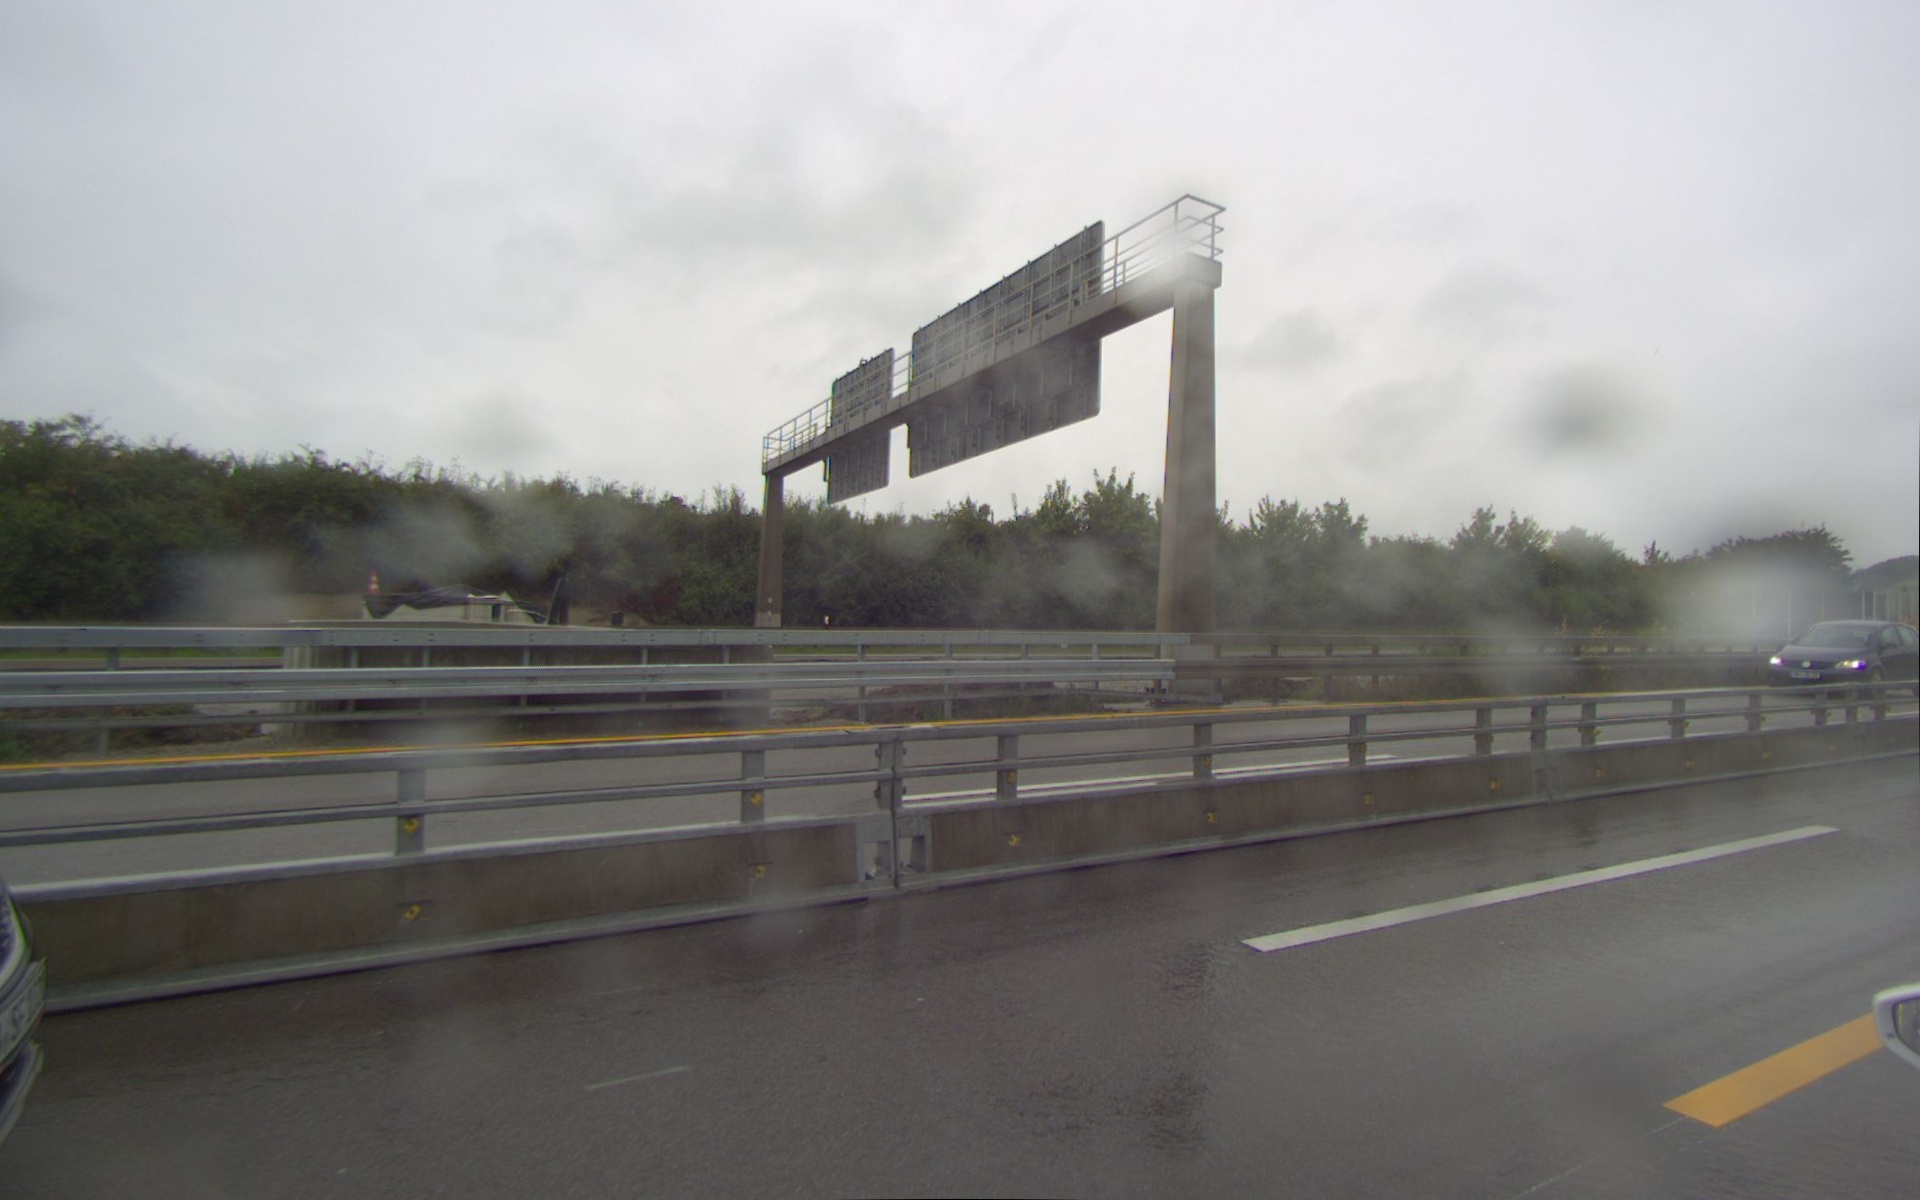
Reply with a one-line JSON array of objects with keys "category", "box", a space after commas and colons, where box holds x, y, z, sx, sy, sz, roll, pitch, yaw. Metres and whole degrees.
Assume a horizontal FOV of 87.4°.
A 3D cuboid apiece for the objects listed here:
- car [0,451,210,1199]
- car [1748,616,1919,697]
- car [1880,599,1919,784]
[{"category": "car", "box": [-3.798, 0.506, 1.212, 4.361, 1.606, 1.984, 2, 0, -30]}, {"category": "car", "box": [18.790, 1.160, 21.316, 4.081, 1.522, 1.838, 2, 0, -30]}, {"category": "car", "box": [10.926, 0.883, 9.473, 4.740, 1.639, 1.984, 2, 0, -30]}]
